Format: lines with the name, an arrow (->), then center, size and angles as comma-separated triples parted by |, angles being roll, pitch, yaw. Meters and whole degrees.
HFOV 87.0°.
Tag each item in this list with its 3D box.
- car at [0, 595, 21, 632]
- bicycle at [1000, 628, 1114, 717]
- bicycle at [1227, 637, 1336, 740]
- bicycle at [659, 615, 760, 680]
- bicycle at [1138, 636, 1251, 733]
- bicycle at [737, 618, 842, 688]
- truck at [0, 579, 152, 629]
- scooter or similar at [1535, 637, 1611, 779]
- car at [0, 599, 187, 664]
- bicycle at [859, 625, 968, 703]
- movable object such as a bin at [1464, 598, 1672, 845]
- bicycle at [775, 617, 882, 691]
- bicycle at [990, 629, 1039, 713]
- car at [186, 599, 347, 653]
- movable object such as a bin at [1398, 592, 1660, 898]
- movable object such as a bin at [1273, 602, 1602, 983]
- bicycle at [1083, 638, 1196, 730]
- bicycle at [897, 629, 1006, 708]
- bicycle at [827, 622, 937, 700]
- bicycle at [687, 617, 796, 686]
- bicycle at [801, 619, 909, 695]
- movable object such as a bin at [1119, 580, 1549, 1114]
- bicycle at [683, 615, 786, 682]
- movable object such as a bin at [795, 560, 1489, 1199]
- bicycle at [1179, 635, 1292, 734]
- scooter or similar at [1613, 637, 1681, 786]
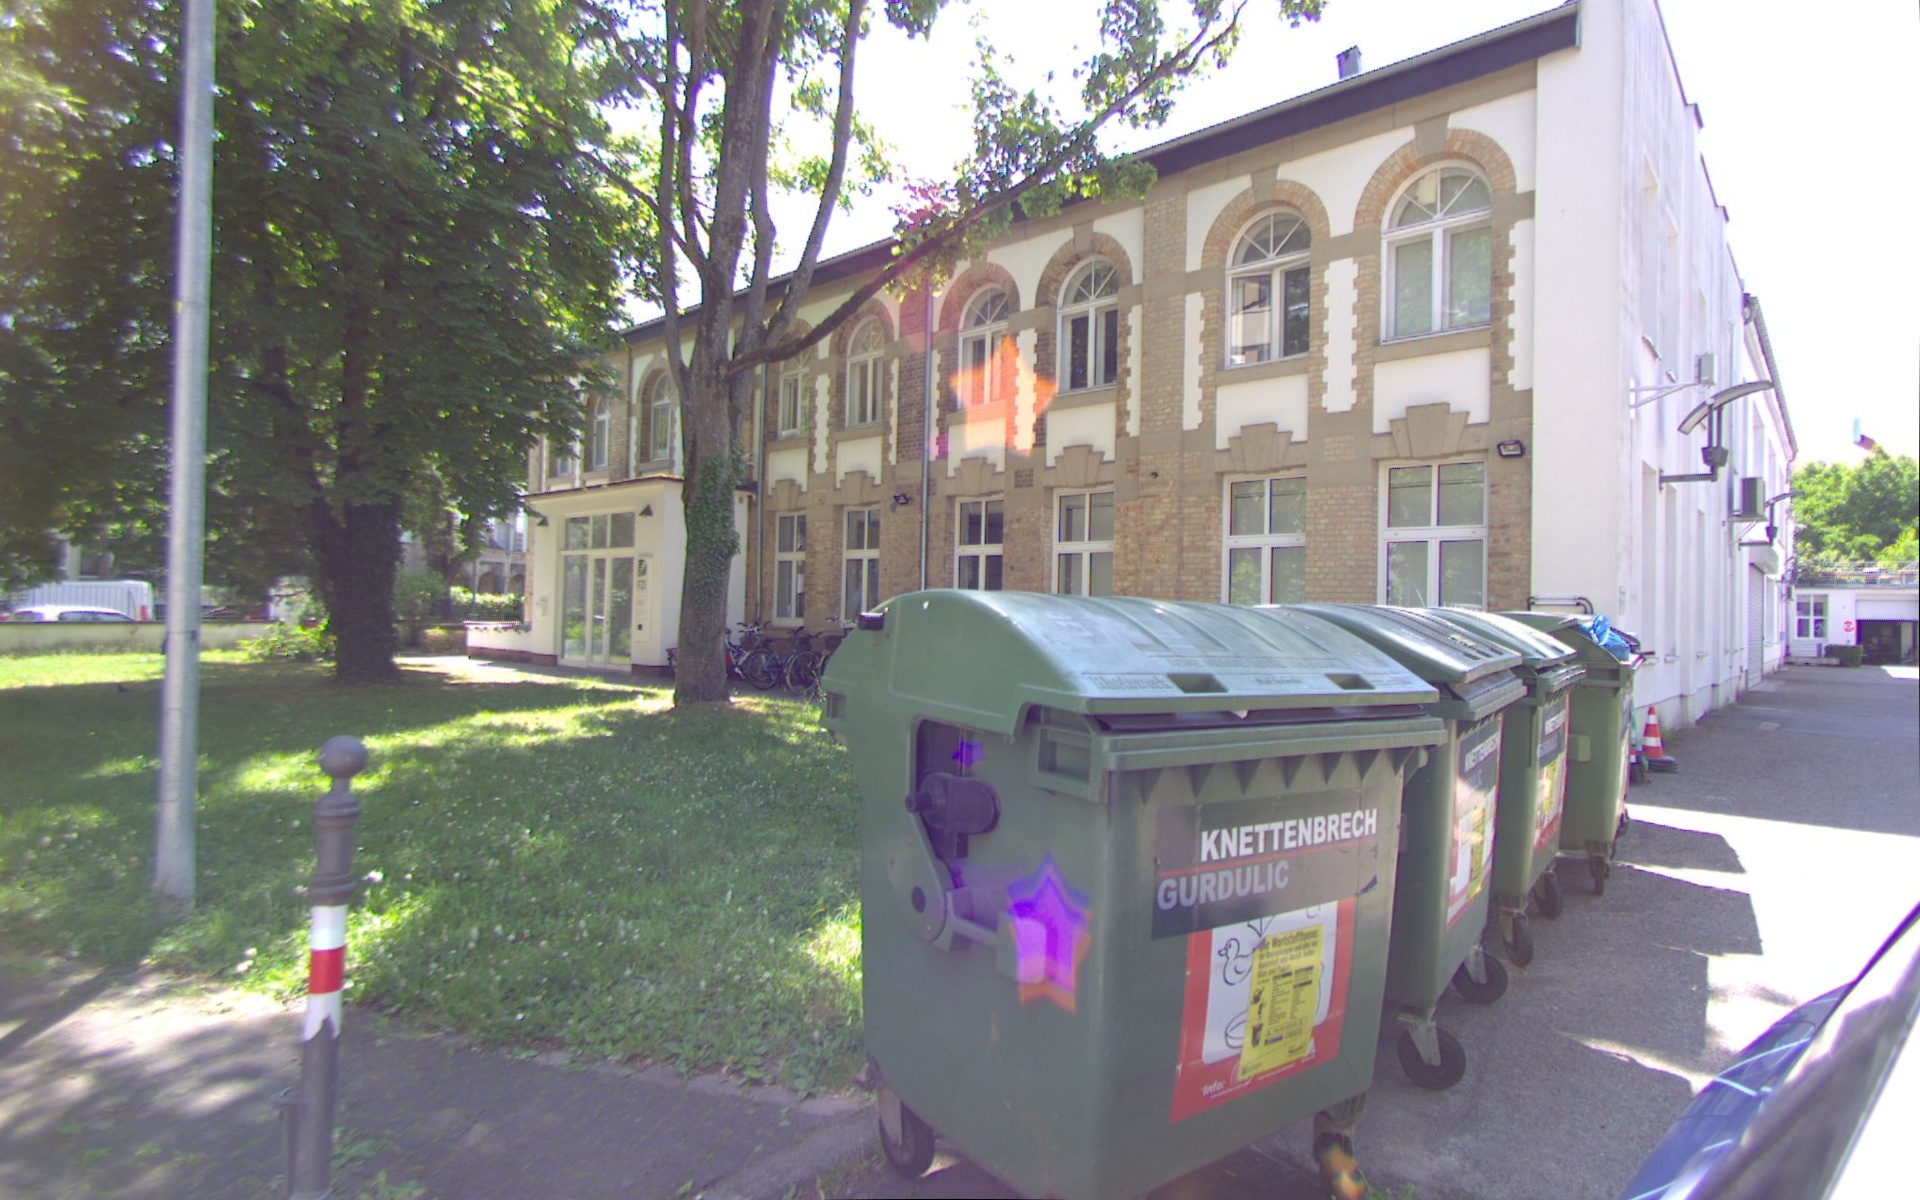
car -> -35.801, 0.456, 35.987 | 3.300, 1.307, 1.534 | 1, -1, -34
bicycle -> 1.342, 0.957, 13.707 | 0.521, 1.117, 1.806 | 0, -2, 43
bicycle -> 3.717, 0.969, 11.614 | 0.453, 1.081, 1.806 | 0, -2, 43
bicycle -> -4.669, 0.866, 18.963 | 0.587, 1.157, 1.813 | 0, -1, 43
bicycle -> 2.896, 0.996, 12.382 | 0.503, 1.081, 1.806 | 0, -1, 43
bicycle -> -2.949, 0.898, 17.646 | 0.587, 1.157, 1.813 | 0, -1, 43
truck -> -34.427, 0.158, 39.346 | 4.554, 1.856, 1.656 | 0, 0, -34
scooter or similar -> 5.708, 0.962, 9.465 | 0.460, 1.189, 1.245 | 1, -1, 24
car -> -22.275, 0.753, 25.775 | 1.681, 1.483, 3.920 | 1, 0, 14
bicycle -> -0.681, 0.951, 15.514 | 0.521, 1.114, 1.813 | 0, -1, 43
movable object such as a bin -> 4.309, 0.752, 7.192 | 1.150, 1.524, 1.445 | 0, 0, 33
bicycle -> -2.174, 0.879, 16.936 | 0.587, 1.157, 1.813 | 0, -1, 43
bicycle -> 0.807, 0.982, 14.579 | 0.465, 1.117, 1.829 | 1, -1, 10
car -> -20.894, 0.757, 30.689 | 1.681, 1.483, 3.920 | 1, 0, 14
movable object such as a bin -> 3.288, 0.706, 5.809 | 1.175, 1.488, 1.294 | 0, -1, 36
movable object such as a bin -> 2.312, 0.756, 4.855 | 1.176, 1.488, 1.293 | 0, -1, 38
bicycle -> 2.306, 1.030, 12.852 | 0.503, 1.081, 1.806 | 0, -2, 43
bicycle -> -0.098, 0.980, 15.009 | 0.521, 1.084, 1.806 | 0, -1, 43
bicycle -> -1.220, 0.933, 16.079 | 0.587, 1.157, 1.813 | 0, -1, 43
bicycle -> -3.808, 0.881, 17.771 | 1.810, 1.157, 0.588 | 2, -1, -43
bicycle -> -1.689, 0.905, 16.507 | 0.587, 1.157, 1.813 | 0, -1, 43
movable object such as a bin -> 1.406, 0.690, 3.711 | 1.176, 1.488, 1.294 | 0, -1, 37
bicycle -> -4.097, 0.863, 18.485 | 0.587, 1.157, 1.813 | 0, -1, 43
movable object such as a bin -> 0.437, 0.677, 2.591 | 1.308, 1.488, 1.182 | 0, -1, -37
bicycle -> 3.283, 0.958, 11.967 | 0.503, 1.081, 1.806 | 0, -2, 43
scooter or similar -> 6.129, 0.948, 9.060 | 0.462, 1.189, 1.341 | 0, -1, 33
